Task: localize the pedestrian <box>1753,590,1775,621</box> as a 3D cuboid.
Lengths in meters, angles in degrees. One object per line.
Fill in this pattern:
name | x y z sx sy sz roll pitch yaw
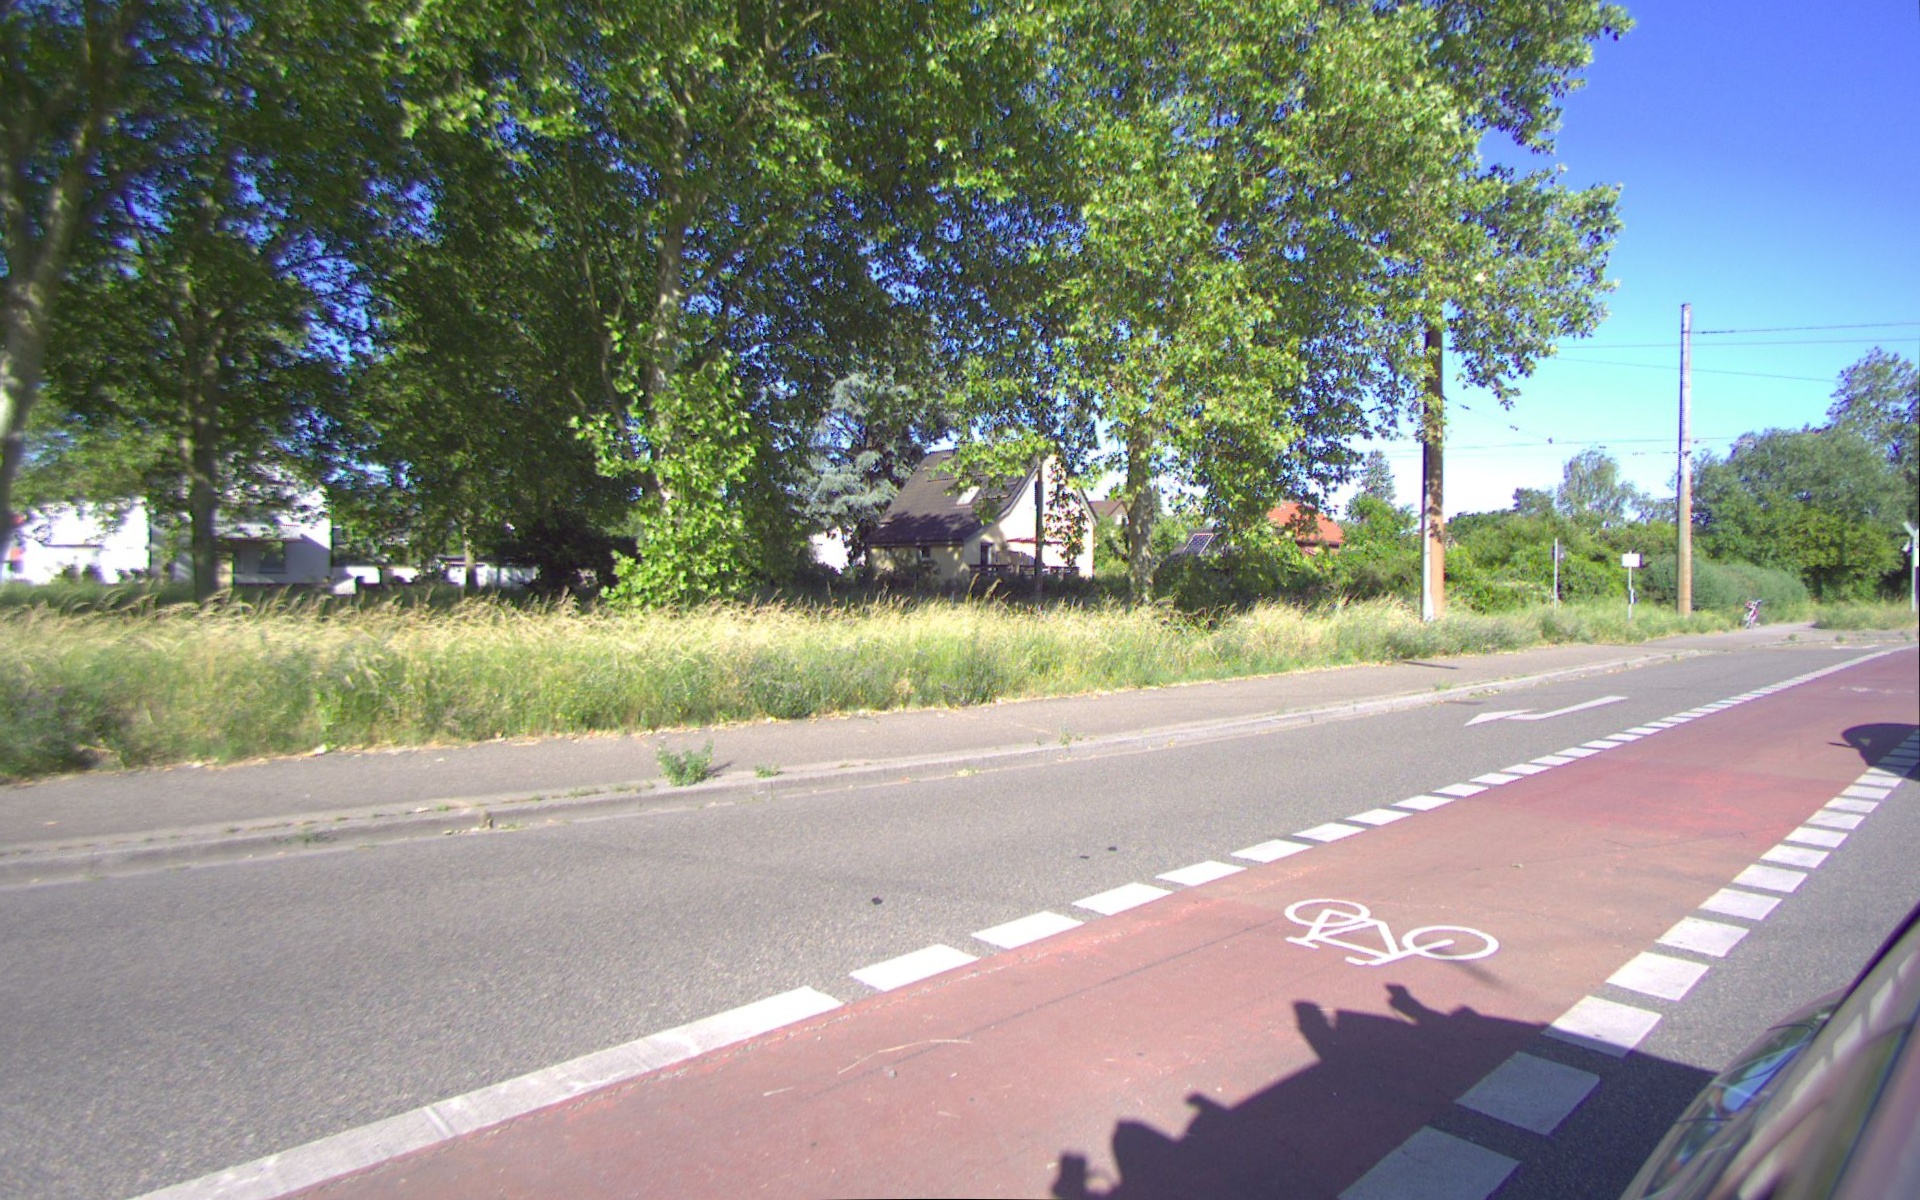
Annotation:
pedestrian | 27.343 0.192 34.422 0.446 1.046 0.482 0 1 -41
